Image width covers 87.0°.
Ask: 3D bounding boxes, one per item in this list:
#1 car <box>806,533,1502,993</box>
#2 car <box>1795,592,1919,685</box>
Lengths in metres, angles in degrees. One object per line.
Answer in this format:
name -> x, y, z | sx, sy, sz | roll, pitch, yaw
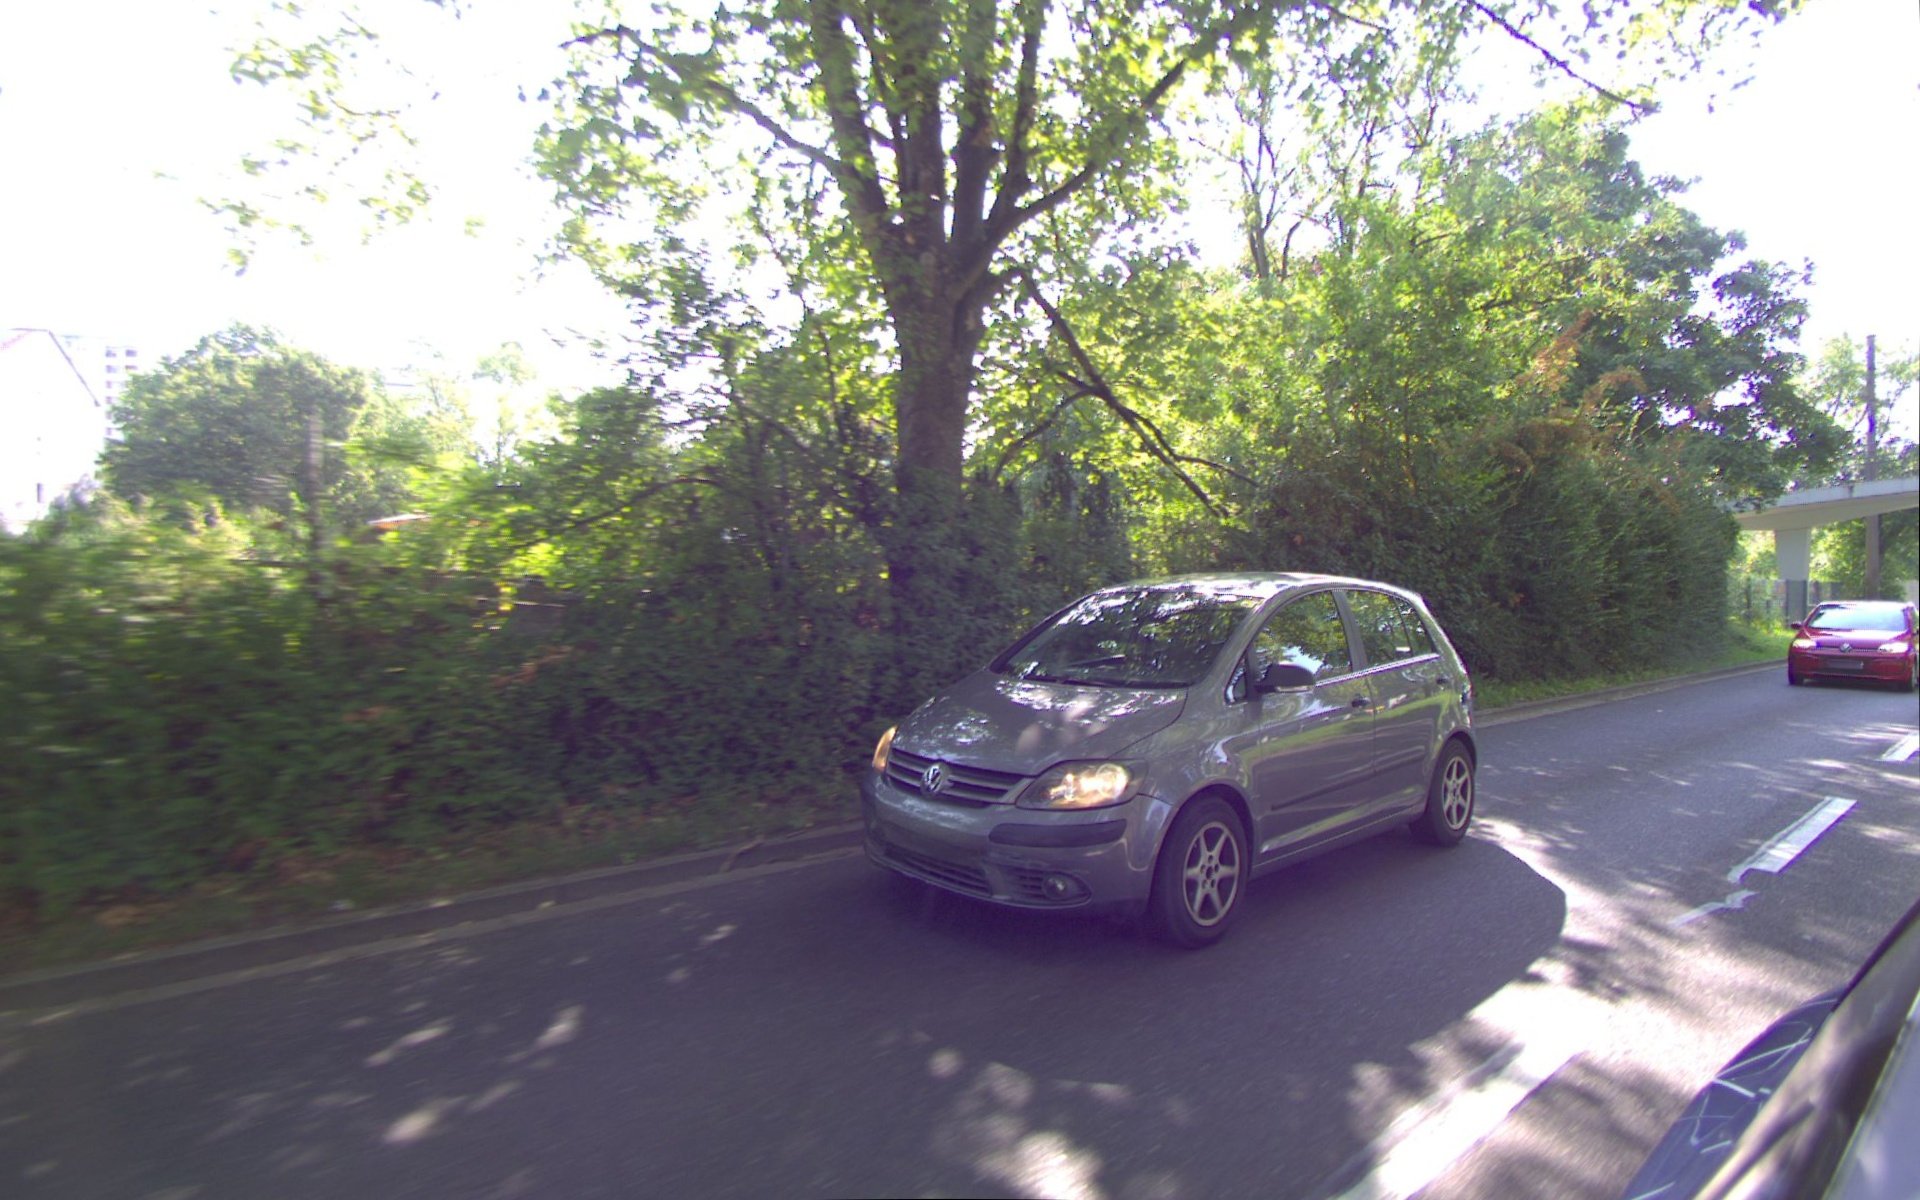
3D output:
car -> 1.255, 0.546, 5.378 | 3.832, 1.576, 1.647 | -1, 0, -42
car -> 15.945, 0.592, 17.488 | 3.407, 1.416, 1.580 | -1, 1, -37
